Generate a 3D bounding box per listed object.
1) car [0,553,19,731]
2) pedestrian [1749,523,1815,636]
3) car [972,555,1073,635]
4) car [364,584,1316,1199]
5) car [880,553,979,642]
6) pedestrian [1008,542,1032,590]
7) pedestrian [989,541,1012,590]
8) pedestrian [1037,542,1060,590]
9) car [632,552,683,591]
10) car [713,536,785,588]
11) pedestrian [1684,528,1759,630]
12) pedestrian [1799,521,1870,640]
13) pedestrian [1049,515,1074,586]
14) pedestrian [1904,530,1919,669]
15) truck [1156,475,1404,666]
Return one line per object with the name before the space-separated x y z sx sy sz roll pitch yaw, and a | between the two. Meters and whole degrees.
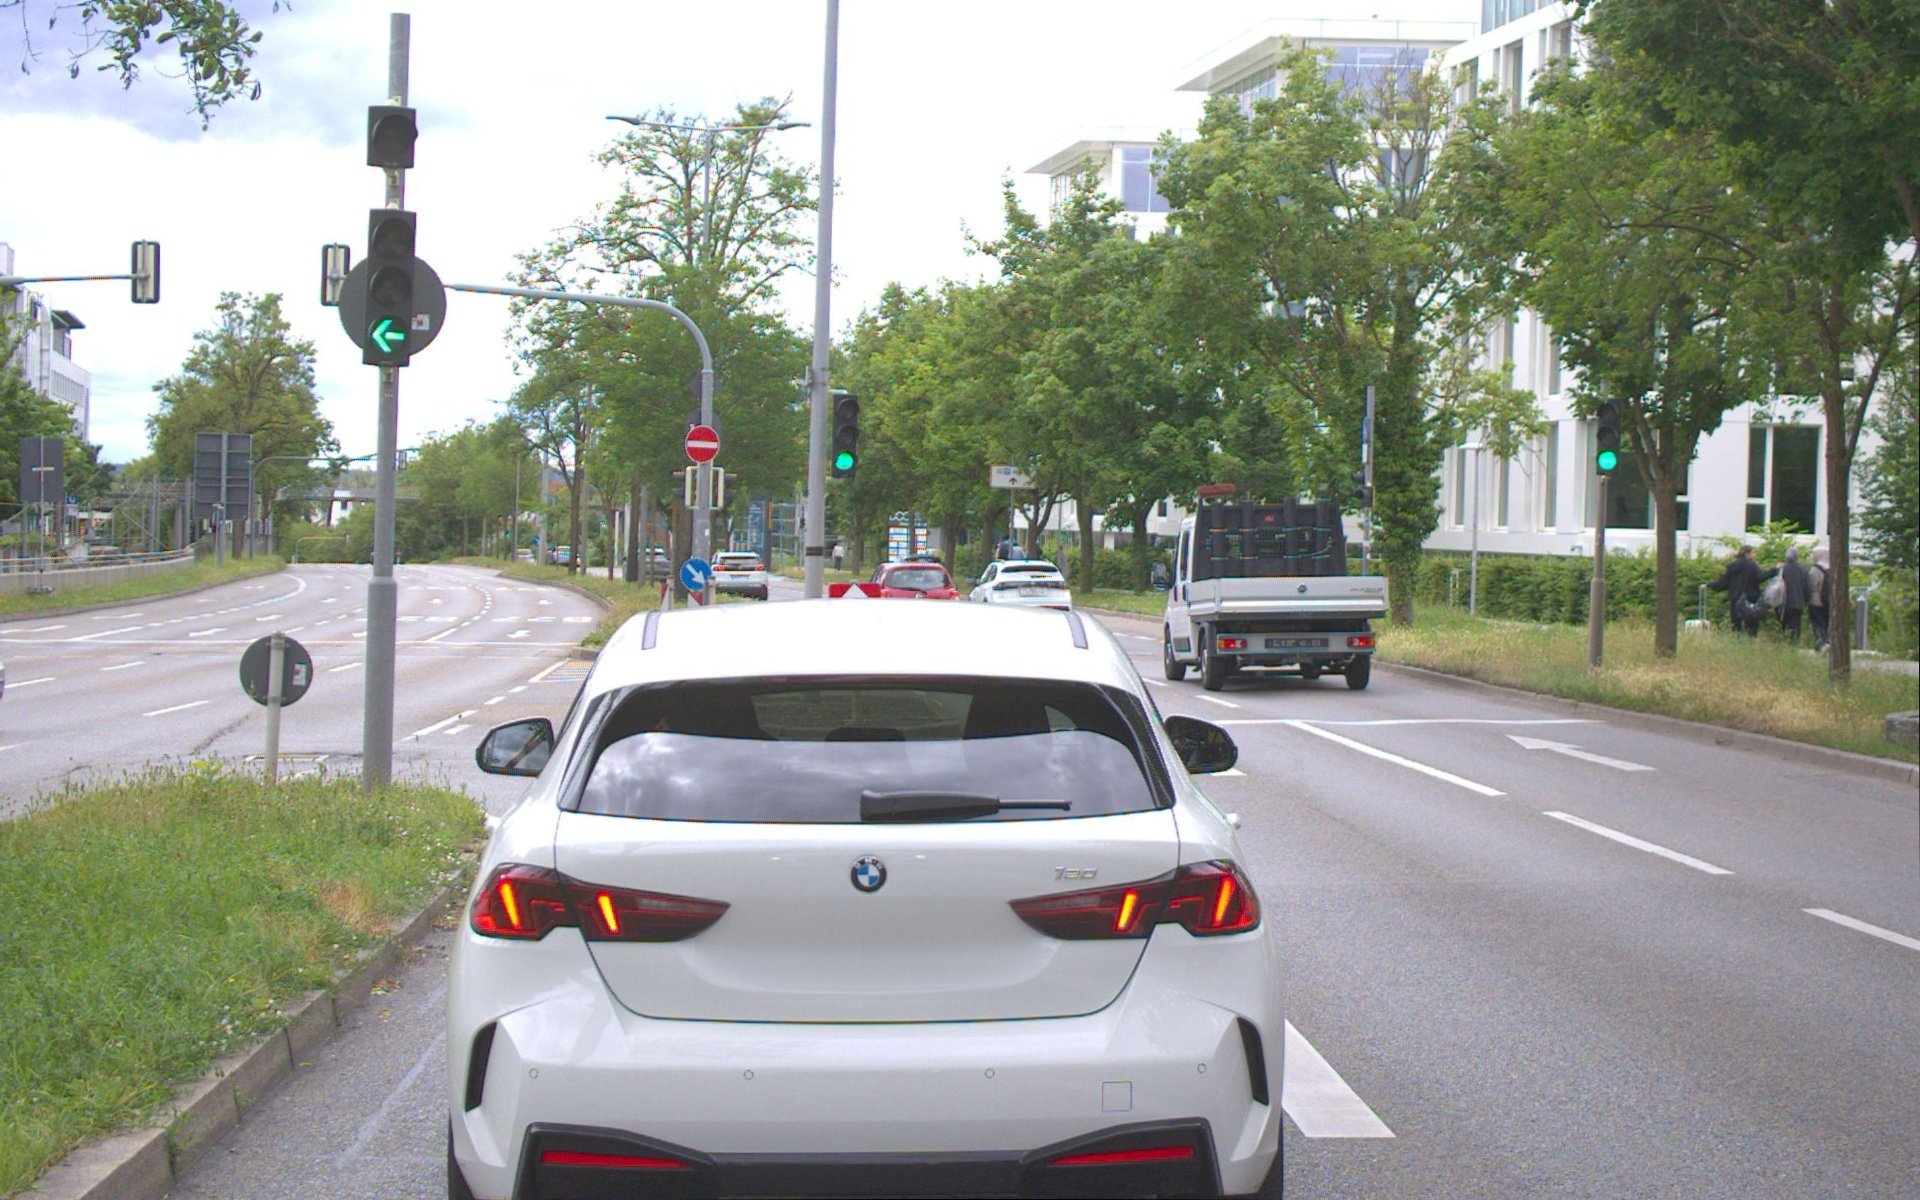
car | -10.451 0.320 30.666 3.993 1.563 1.552 2 1 29
pedestrian | 11.795 -0.292 49.364 0.699 1.590 0.883 1 0 -1
car | 1.233 -0.109 69.241 1.715 1.550 4.090 1 0 -3
car | -0.249 0.707 8.673 1.822 1.433 4.000 1 1 0
car | -0.562 -0.055 61.963 1.716 1.553 3.858 0 0 -1
pedestrian | 2.474 -1.404 142.150 0.762 2.007 0.754 1 0 -15
pedestrian | 1.665 -1.439 142.101 0.762 2.007 0.754 1 0 -15
pedestrian | 3.692 -1.412 143.368 0.762 2.007 0.754 1 0 -15
car | -12.746 -1.208 144.681 1.891 1.590 4.315 1 1 -8
car | -6.576 -1.179 106.917 1.854 1.590 4.315 0 1 -9
pedestrian | 11.017 -0.303 49.768 0.789 1.443 1.112 1 0 -1
pedestrian | 12.563 -0.282 49.403 0.767 1.679 0.883 1 0 -1
pedestrian | 3.772 -1.852 127.909 0.831 2.618 0.646 1 0 0
pedestrian | 11.190 -0.005 38.988 0.741 1.569 0.674 1 0 -1
truck | 3.906 -0.372 43.070 2.211 2.196 5.845 1 1 -3
